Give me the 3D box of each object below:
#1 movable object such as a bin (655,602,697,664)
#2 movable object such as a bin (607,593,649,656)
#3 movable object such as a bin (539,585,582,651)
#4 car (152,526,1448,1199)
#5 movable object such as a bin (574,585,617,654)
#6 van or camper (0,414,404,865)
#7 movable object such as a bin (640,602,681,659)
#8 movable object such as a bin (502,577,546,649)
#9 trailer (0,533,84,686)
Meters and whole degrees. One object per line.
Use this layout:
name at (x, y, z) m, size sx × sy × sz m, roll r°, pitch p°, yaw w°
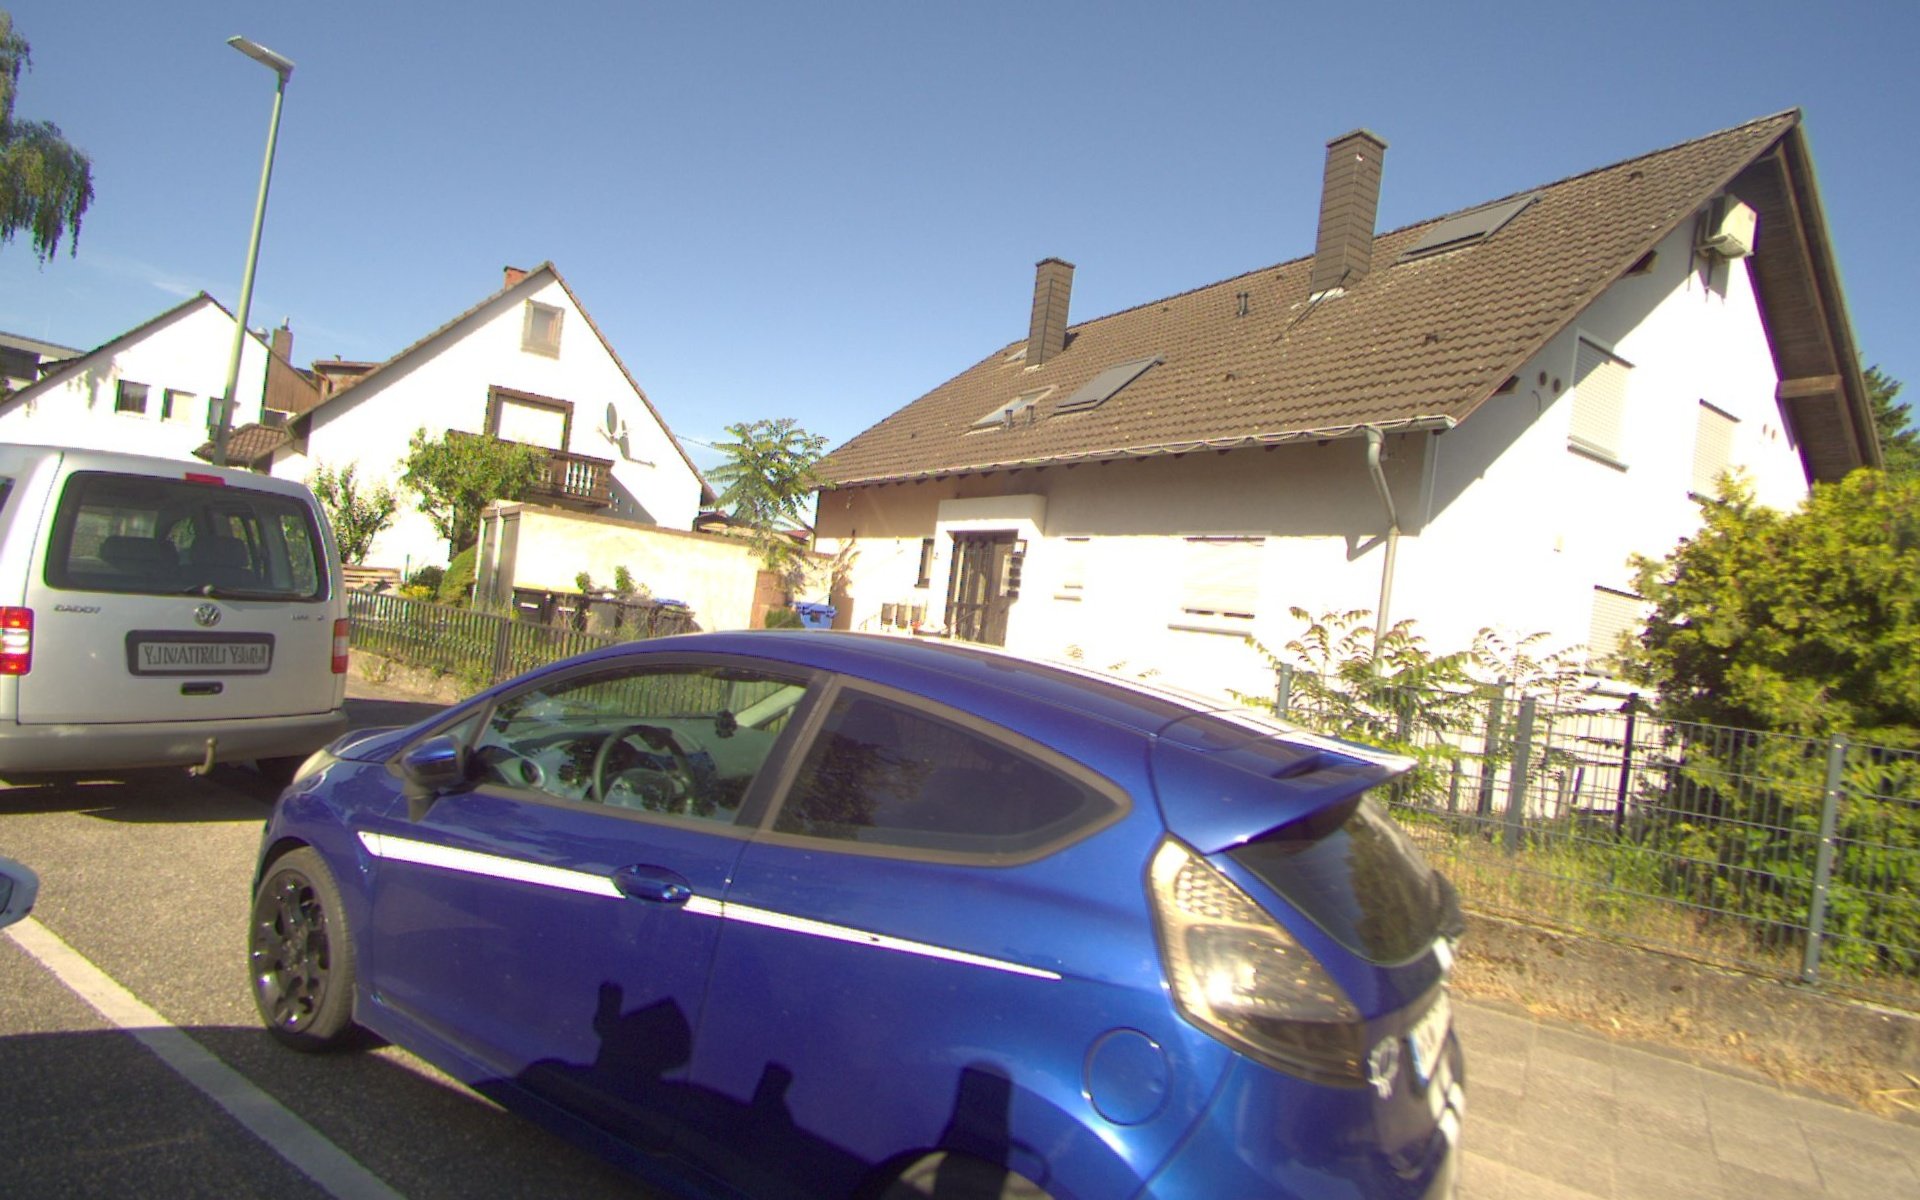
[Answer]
movable object such as a bin at (-4.874, 0.569, 17.255) m, size 0.499 × 0.976 × 0.454 m, roll 7°, pitch 0°, yaw -31°
movable object such as a bin at (-5.749, 0.429, 17.415) m, size 0.499 × 1.011 × 0.454 m, roll 7°, pitch 0°, yaw -31°
movable object such as a bin at (-6.727, 0.296, 16.942) m, size 0.499 × 1.038 × 0.454 m, roll 7°, pitch 0°, yaw -31°
car at (-0.556, 0.779, 3.109) m, size 3.502 × 1.522 × 1.723 m, roll 7°, pitch -1°, yaw 29°
movable object such as a bin at (-6.238, 0.329, 17.219) m, size 0.499 × 1.091 × 0.454 m, roll 7°, pitch 0°, yaw -31°
van or camper at (-5.405, 0.057, 6.009) m, size 4.111 × 1.913 × 1.721 m, roll 7°, pitch -1°, yaw 32°
movable object such as a bin at (-5.278, 0.530, 17.705) m, size 0.499 × 0.923 × 0.454 m, roll 7°, pitch 0°, yaw -31°
movable object such as a bin at (-7.204, 0.211, 16.622) m, size 0.499 × 1.109 × 0.454 m, roll 7°, pitch 0°, yaw -31°
trailer at (-9.568, -0.080, 8.970) m, size 3.091 × 1.232 × 1.631 m, roll 7°, pitch -1°, yaw 29°
